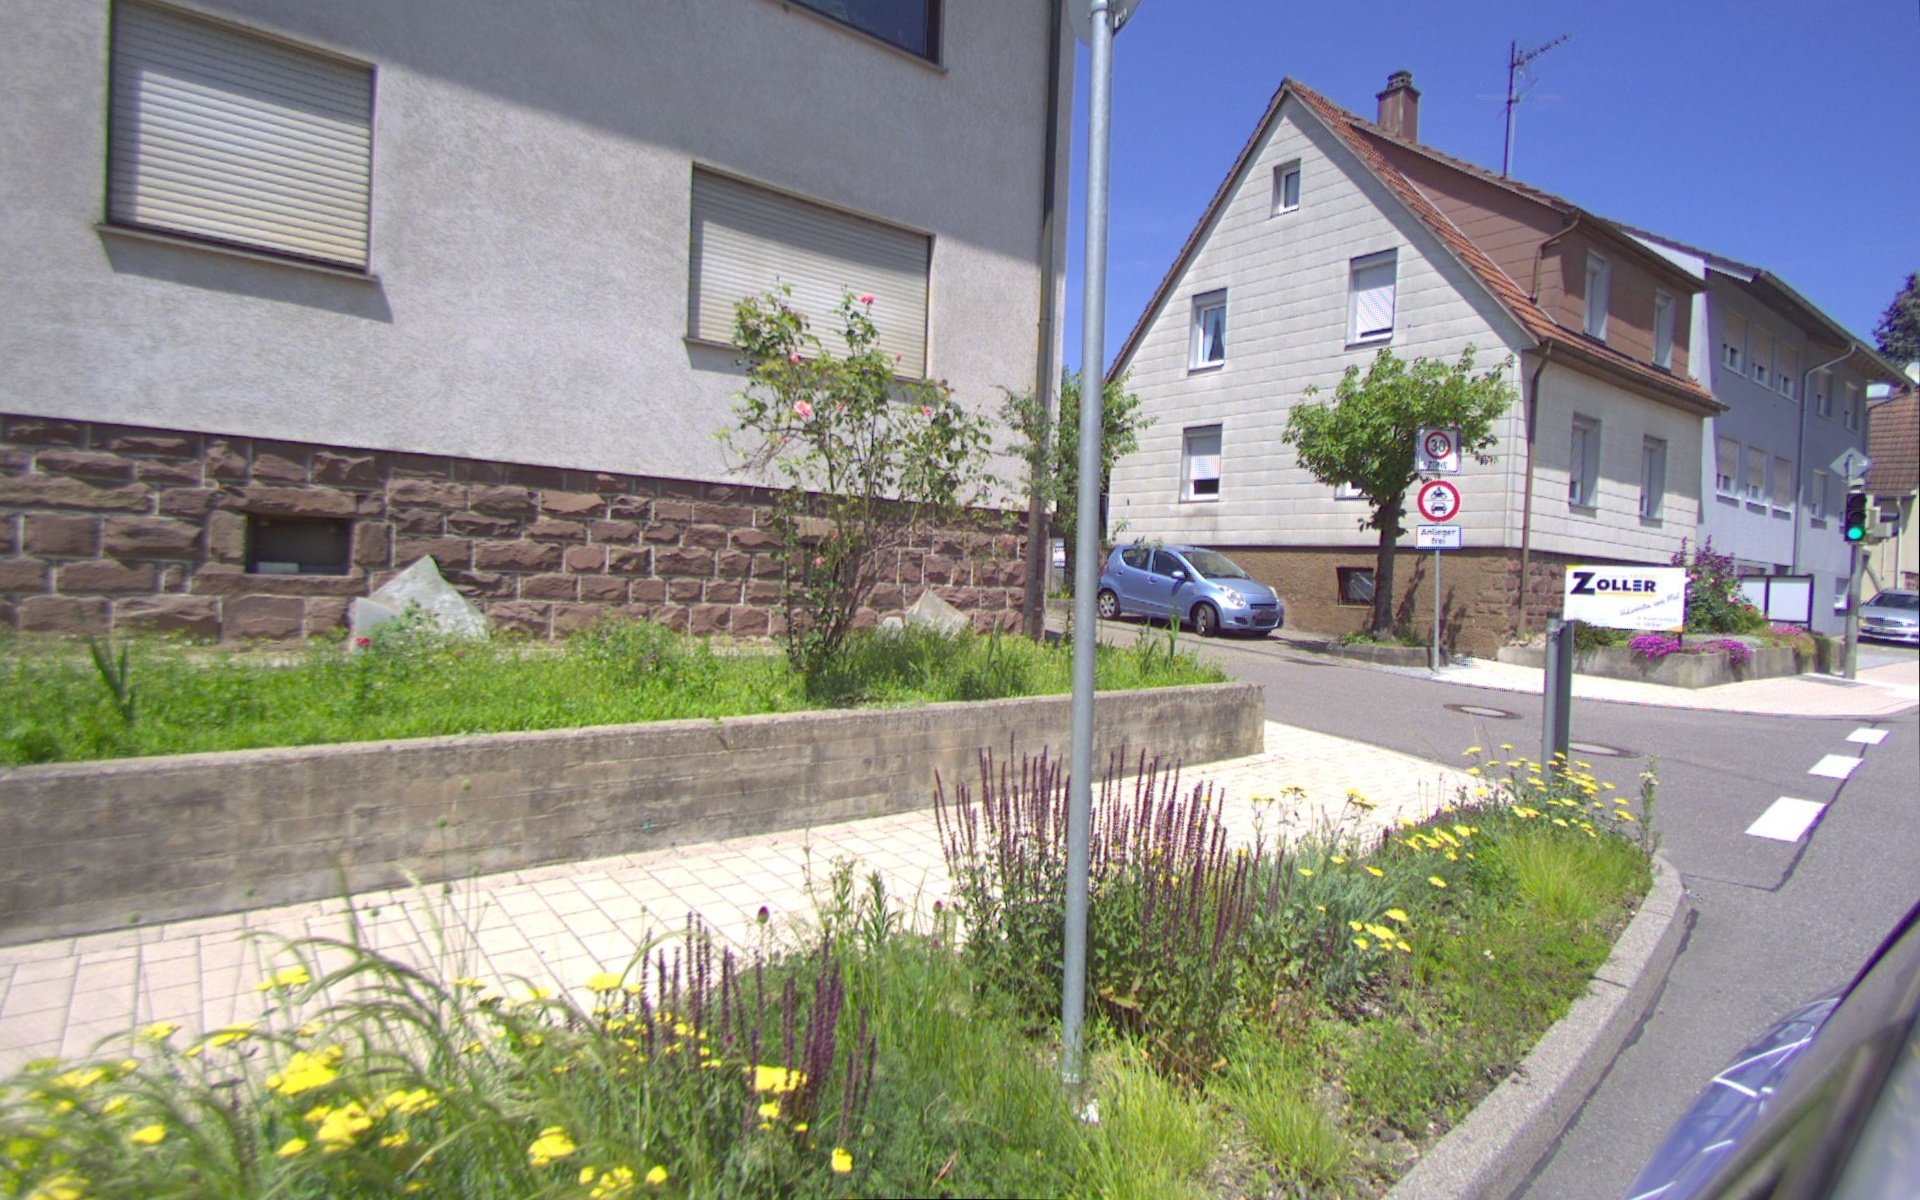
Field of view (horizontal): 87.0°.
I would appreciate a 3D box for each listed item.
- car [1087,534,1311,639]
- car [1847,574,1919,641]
[{"bbox_3d":[4.126,-0.316,17.934,1.765,1.510,3.529,-1,6,-35],"label":"car"},{"bbox_3d":[26.322,0.175,27.863,4.424,1.640,1.870,-1,5,-36],"label":"car"}]
